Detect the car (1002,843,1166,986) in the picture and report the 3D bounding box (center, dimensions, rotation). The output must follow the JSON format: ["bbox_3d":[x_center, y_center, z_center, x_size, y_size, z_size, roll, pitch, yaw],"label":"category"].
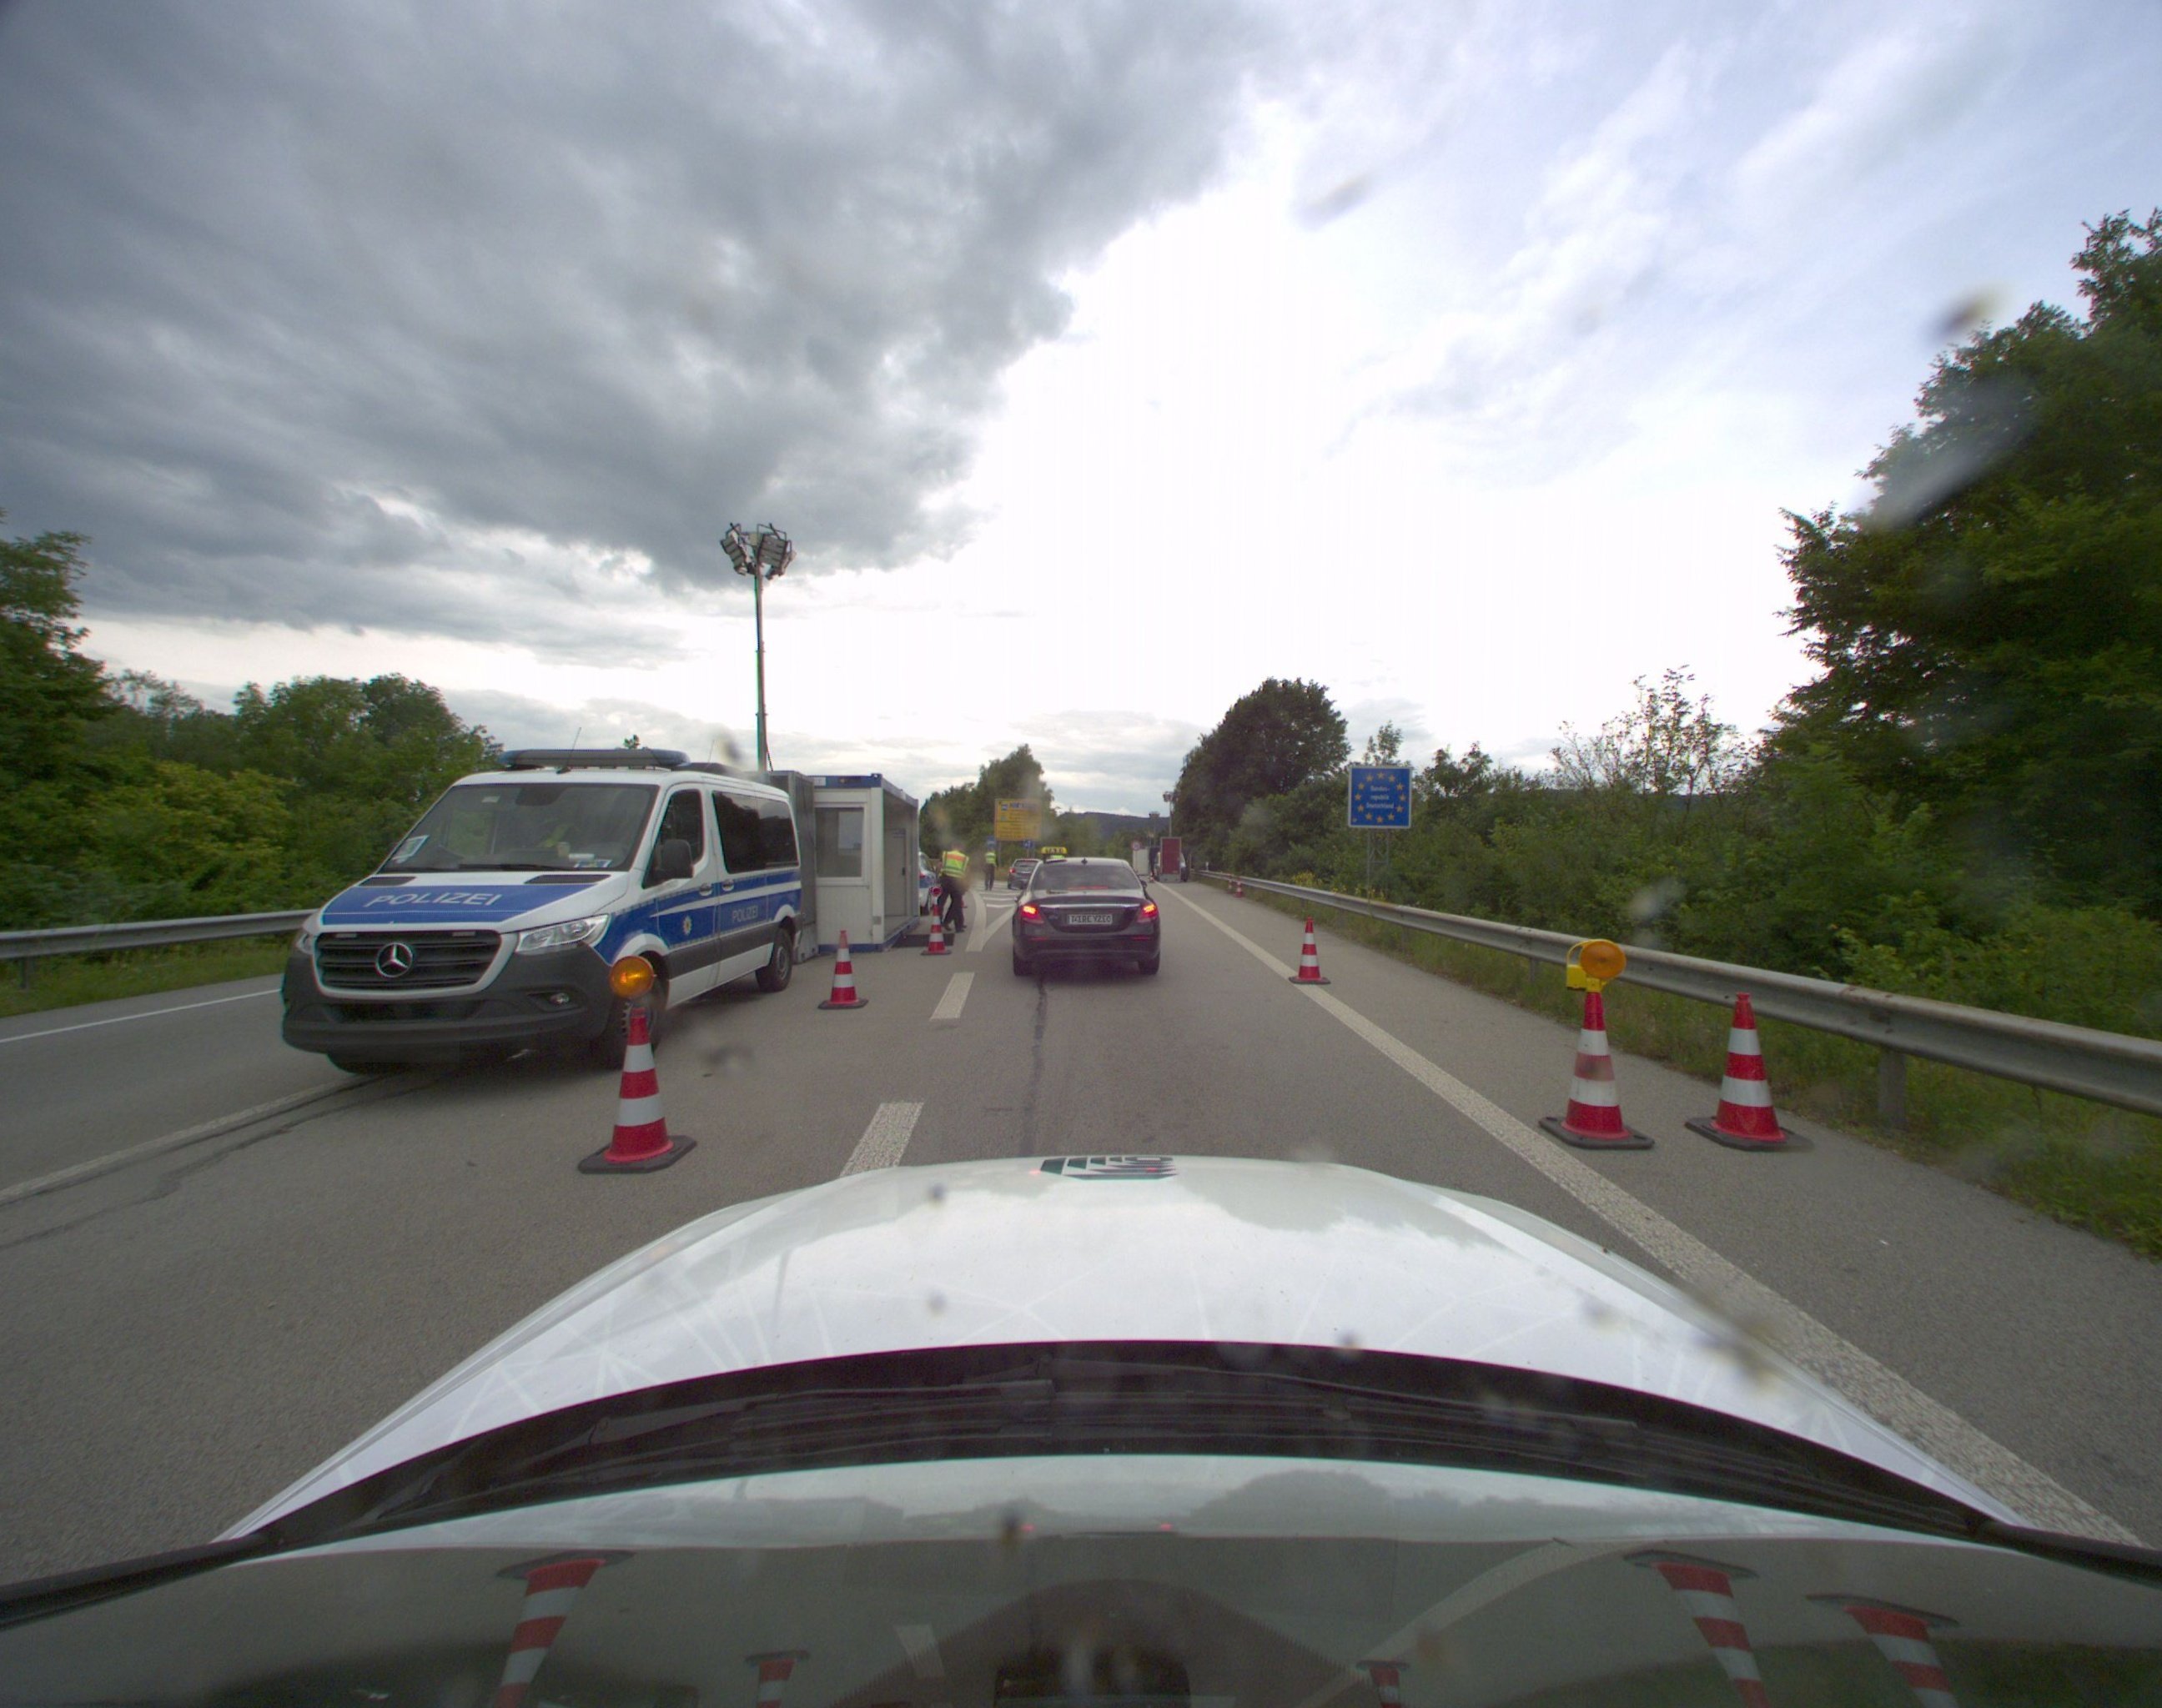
[{"bbox_3d":[-0.015,0.681,11.423,1.850,1.595,4.373,-1,0,-2],"label":"car"}]

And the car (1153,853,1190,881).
[{"bbox_3d":[5.784,0.795,52.585,1.909,1.678,5.085,1,0,2],"label":"car"}]

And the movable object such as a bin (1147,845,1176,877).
[{"bbox_3d":[6.019,0.503,61.429,1.985,2.280,4.171,0,0,3],"label":"movable object such as a bin"}]

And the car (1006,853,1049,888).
[{"bbox_3d":[-2.432,0.728,37.574,1.851,1.498,4.253,0,0,-2],"label":"car"}]

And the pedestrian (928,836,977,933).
[{"bbox_3d":[-2.488,0.580,15.845,0.810,1.830,0.809,-1,0,0],"label":"pedestrian"}]

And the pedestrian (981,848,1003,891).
[{"bbox_3d":[-3.782,0.641,34.587,0.908,1.769,0.911,0,0,-10],"label":"pedestrian"}]

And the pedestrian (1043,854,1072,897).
[{"bbox_3d":[-0.950,0.858,32.882,0.912,1.698,0.907,0,0,-21],"label":"pedestrian"}]

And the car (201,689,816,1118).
[{"bbox_3d":[-4.175,0.275,7.382,2.024,2.463,5.273,0,0,-3],"label":"car"}]

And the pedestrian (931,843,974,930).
[{"bbox_3d":[-2.599,0.642,16.548,0.814,1.718,0.761,-1,0,-7],"label":"pedestrian"}]

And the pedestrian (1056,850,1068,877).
[{"bbox_3d":[-1.449,0.722,60.932,0.659,1.961,0.762,-1,0,16],"label":"pedestrian"}]

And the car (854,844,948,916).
[{"bbox_3d":[-4.778,0.641,22.127,1.865,1.743,4.003,0,0,-3],"label":"car"}]
